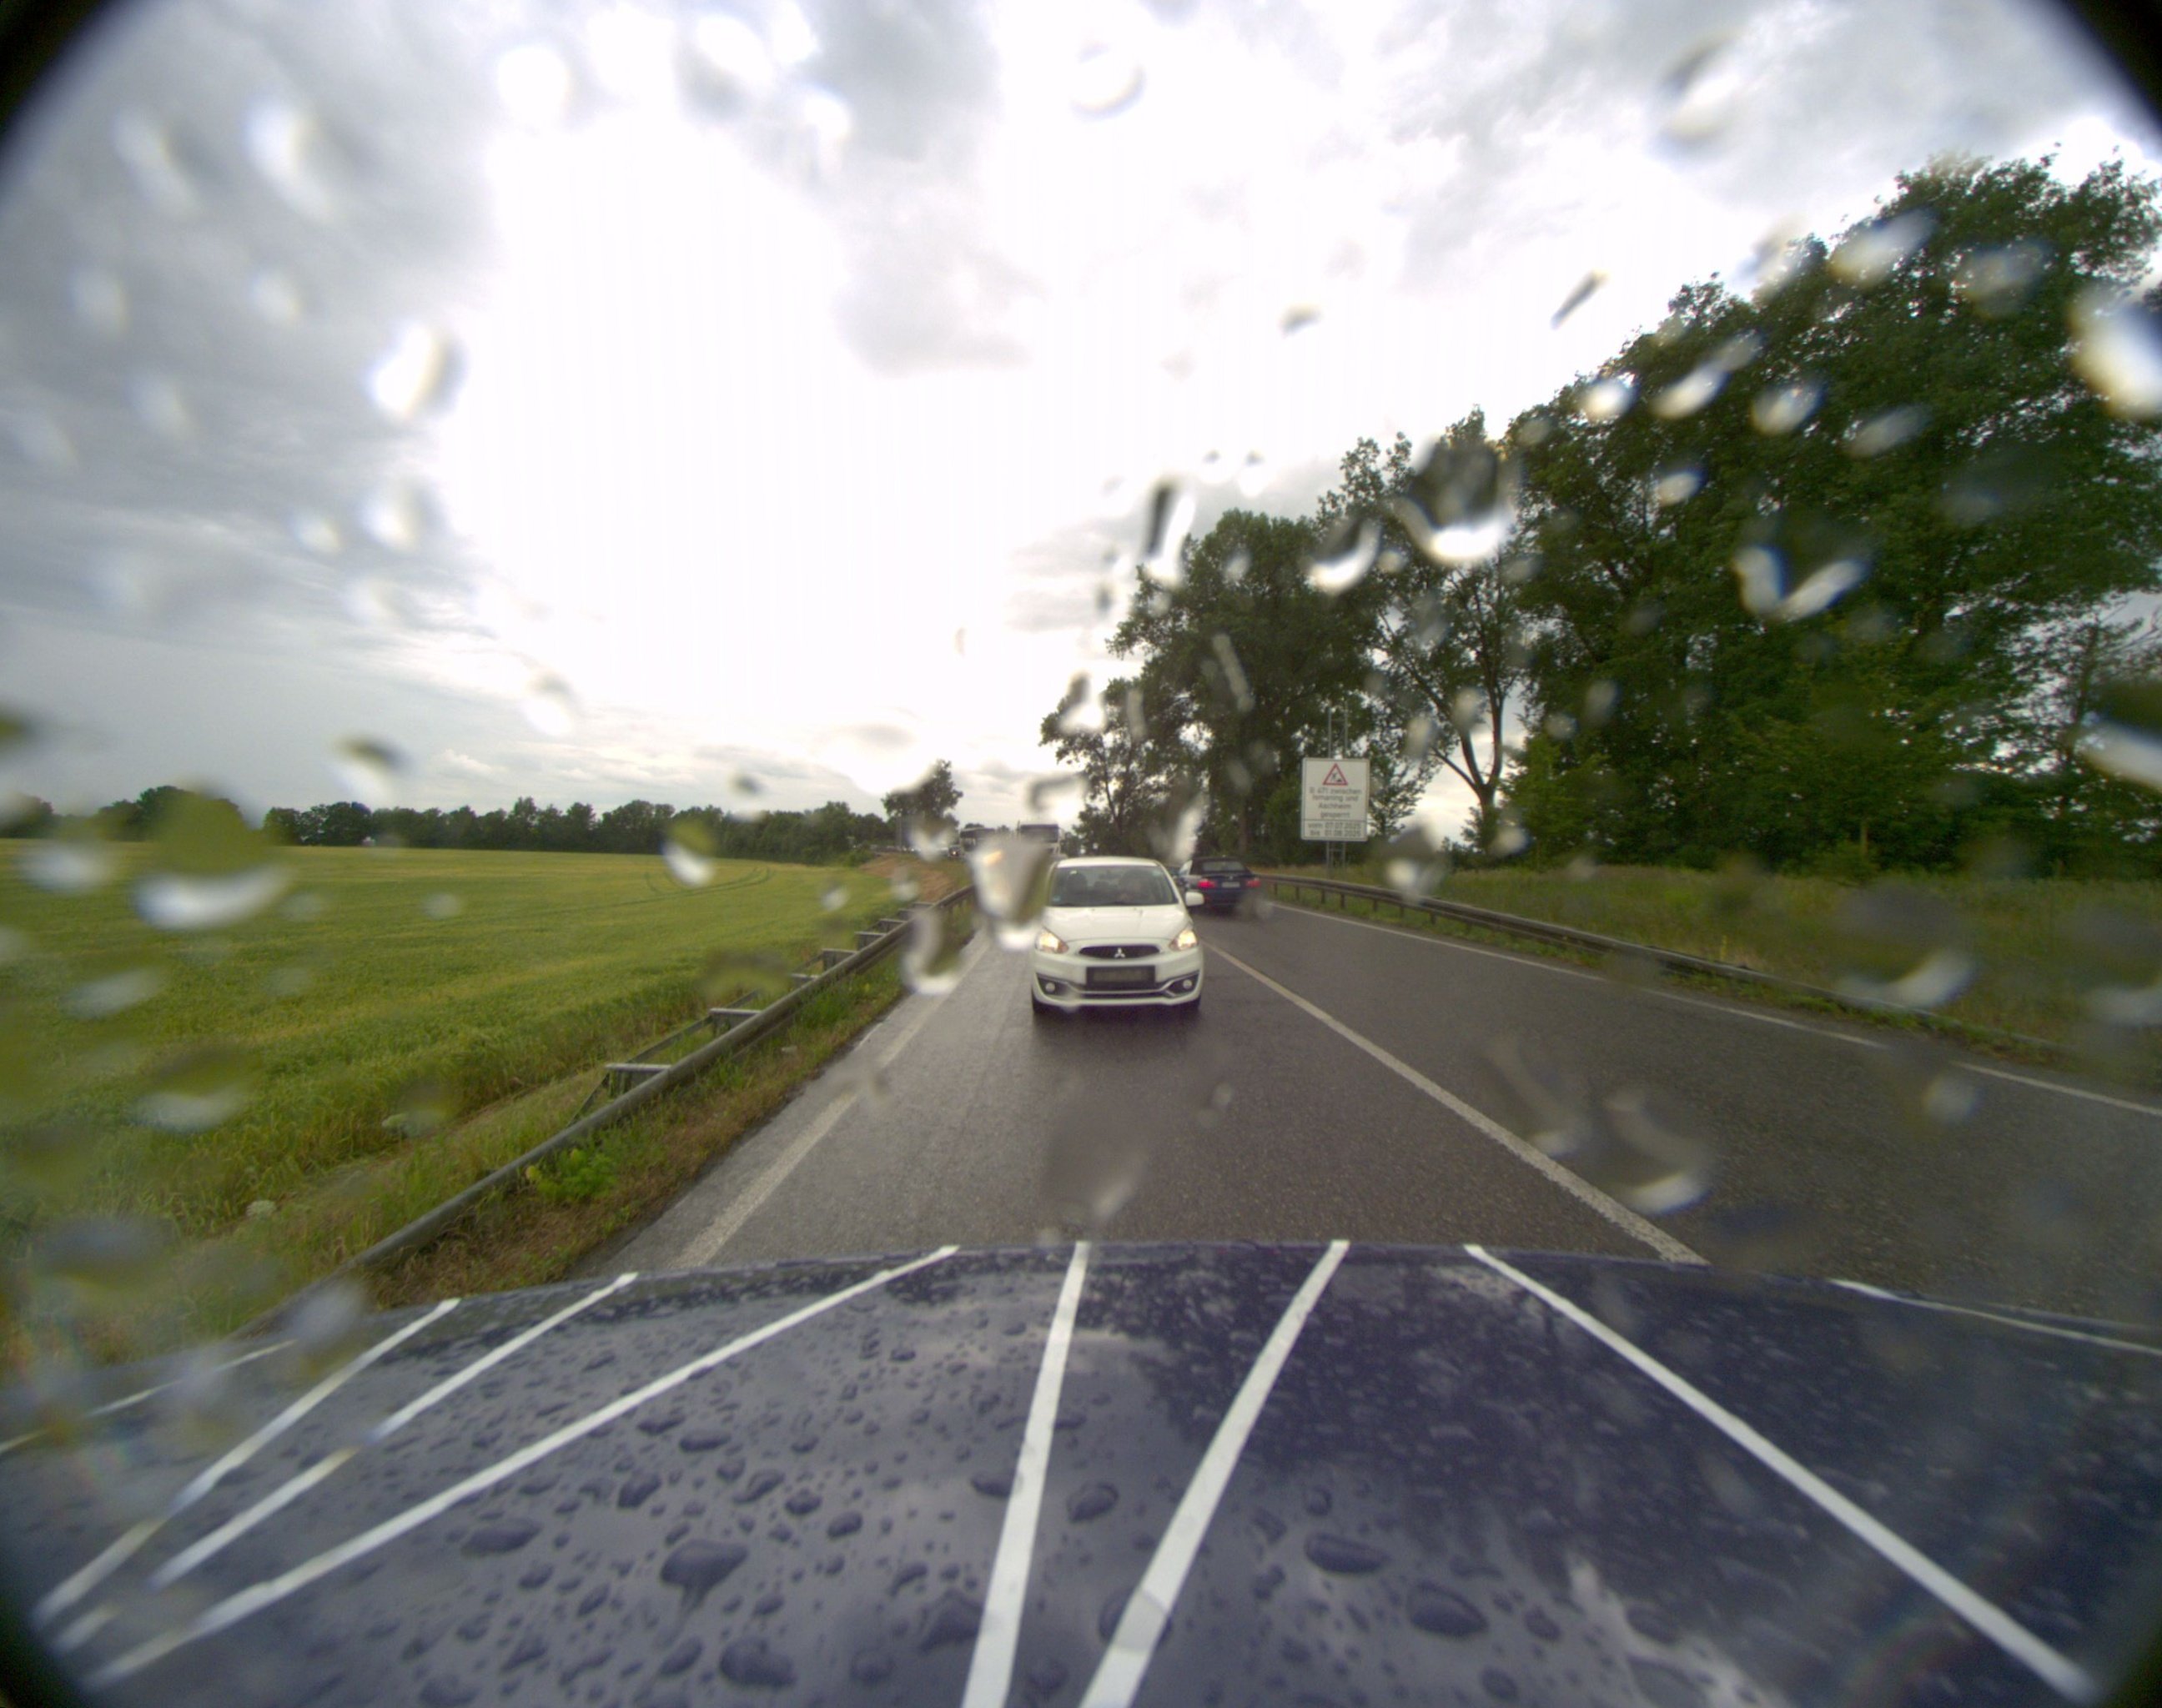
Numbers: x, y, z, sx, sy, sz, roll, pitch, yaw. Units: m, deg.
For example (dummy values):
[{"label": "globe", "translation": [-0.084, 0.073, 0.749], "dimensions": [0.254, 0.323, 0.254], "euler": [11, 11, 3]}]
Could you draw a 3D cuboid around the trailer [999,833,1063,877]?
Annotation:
[{"label": "trailer", "translation": [-3.958, -0.058, 55.204], "dimensions": [2.986, 2.618, 15.665], "euler": [-2, 1, -9]}]

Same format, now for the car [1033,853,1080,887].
[{"label": "car", "translation": [-1.216, 0.696, 35.773], "dimensions": [1.782, 1.380, 4.325], "euler": [-2, 1, -7]}]

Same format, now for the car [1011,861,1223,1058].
[{"label": "car", "translation": [0.271, 0.865, 8.102], "dimensions": [1.653, 1.461, 4.029], "euler": [-2, 0, -1]}]

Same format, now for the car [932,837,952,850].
[{"label": "car", "translation": [-22.831, -1.704, 124.880], "dimensions": [2.002, 2.002, 5.325], "euler": [-2, 1, -23]}]

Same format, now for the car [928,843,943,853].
[{"label": "car", "translation": [-29.516, -1.269, 153.911], "dimensions": [2.002, 2.002, 4.172], "euler": [-2, 1, -24]}]

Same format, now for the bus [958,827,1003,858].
[{"label": "bus", "translation": [-12.224, -1.443, 90.968], "dimensions": [2.967, 3.294, 14.812], "euler": [-2, 2, -16]}]

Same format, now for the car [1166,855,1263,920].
[{"label": "car", "translation": [3.267, 0.761, 19.367], "dimensions": [1.634, 1.388, 4.319], "euler": [-2, 1, -1]}]

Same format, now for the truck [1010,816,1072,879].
[{"label": "truck", "translation": [-2.563, -0.428, 46.758], "dimensions": [2.986, 3.589, 6.074], "euler": [-2, 1, -10]}]

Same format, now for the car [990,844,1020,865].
[{"label": "car", "translation": [-7.201, -0.011, 71.662], "dimensions": [2.044, 1.832, 5.329], "euler": [-2, 1, -13]}]

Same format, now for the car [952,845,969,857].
[{"label": "car", "translation": [-17.122, -0.440, 107.929], "dimensions": [1.816, 1.569, 3.993], "euler": [-2, 1, -18]}]

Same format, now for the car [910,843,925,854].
[{"label": "car", "translation": [-32.226, -1.132, 149.634], "dimensions": [2.002, 2.002, 4.223], "euler": [-2, 1, -23]}]
